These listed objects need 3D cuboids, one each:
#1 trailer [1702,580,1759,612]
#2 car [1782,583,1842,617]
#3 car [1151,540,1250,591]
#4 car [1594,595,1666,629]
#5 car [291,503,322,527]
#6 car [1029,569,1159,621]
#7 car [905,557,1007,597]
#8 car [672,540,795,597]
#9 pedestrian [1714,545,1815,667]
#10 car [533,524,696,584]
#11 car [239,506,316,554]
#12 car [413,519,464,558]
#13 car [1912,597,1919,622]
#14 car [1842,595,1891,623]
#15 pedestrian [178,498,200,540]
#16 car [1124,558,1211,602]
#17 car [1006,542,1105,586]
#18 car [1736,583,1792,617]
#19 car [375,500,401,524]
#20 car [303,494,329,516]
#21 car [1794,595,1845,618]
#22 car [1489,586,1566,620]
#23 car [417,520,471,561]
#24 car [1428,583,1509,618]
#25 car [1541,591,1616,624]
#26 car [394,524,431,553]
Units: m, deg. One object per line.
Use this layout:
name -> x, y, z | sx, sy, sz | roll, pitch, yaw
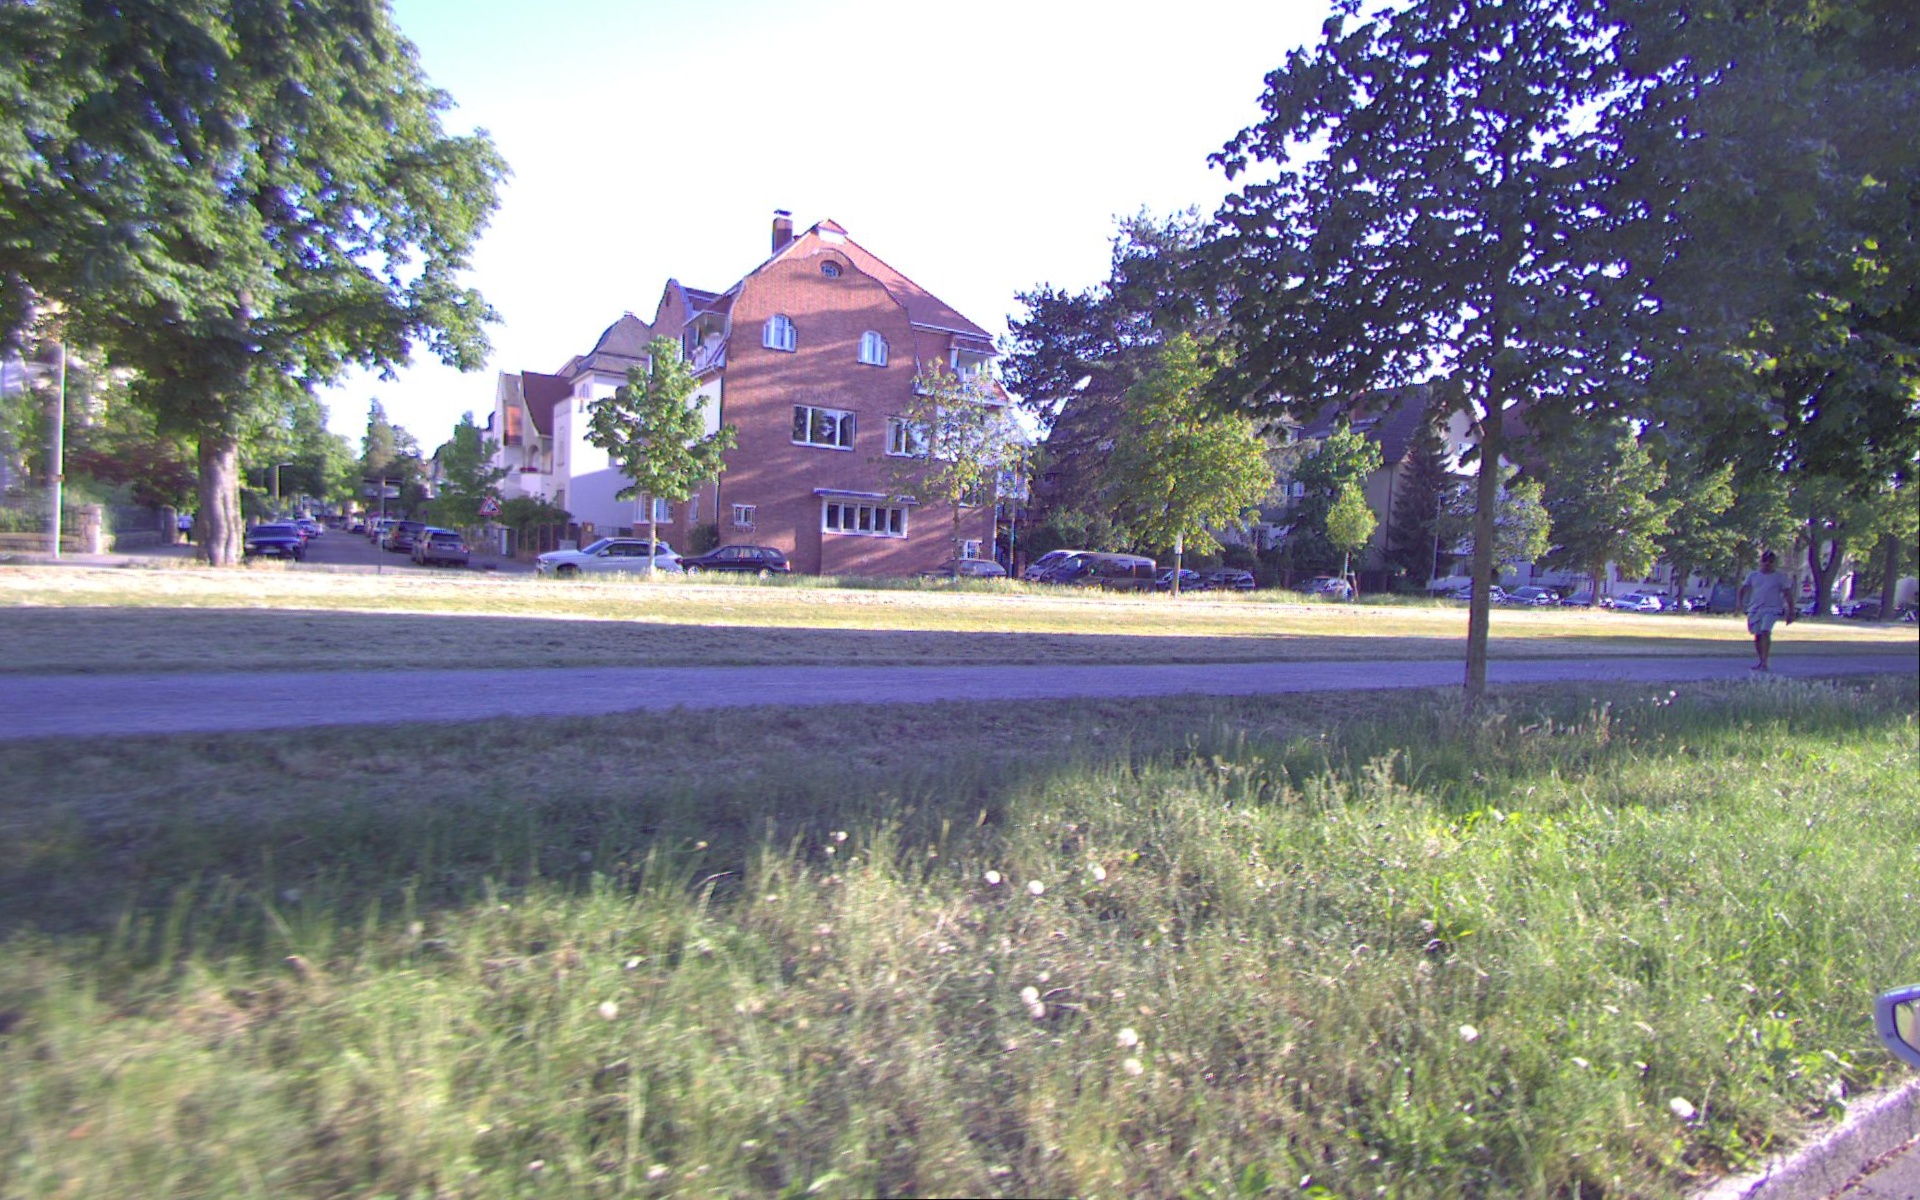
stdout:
trailer -> 64.010, -0.336, 83.426 | 4.668, 2.461, 1.984 | 2, 3, -30
car -> 78.165, -0.003, 92.138 | 5.751, 2.961, 2.426 | 2, 0, -31
car -> 10.799, -1.549, 45.083 | 3.953, 2.041, 1.983 | 1, 5, -30
car -> 42.649, 0.767, 63.932 | 4.204, 1.885, 1.984 | 2, 3, -29
car -> -54.880, -7.107, 84.398 | 1.977, 1.876, 3.965 | 1, 3, -31
car -> 5.591, -0.193, 41.799 | 5.183, 1.967, 1.984 | 1, 3, -30
car -> -0.175, -1.025, 45.370 | 4.254, 1.645, 1.748 | 1, 3, -30
car -> -8.805, -1.231, 39.104 | 4.317, 2.041, 1.748 | 1, 3, -30
pedestrian -> 12.173, 0.087, 15.210 | 0.979, 1.782, 0.722 | 1, 3, -24
car -> -10.926, -1.443, 31.808 | 4.597, 1.661, 1.810 | 1, 3, -31
car -> -26.115, -2.674, 38.570 | 1.976, 1.629, 4.832 | 1, 3, -29
car -> -23.564, -2.761, 45.317 | 1.814, 1.595, 3.877 | 1, 3, -30
car -> 91.336, 0.926, 93.398 | 5.394, 2.266, 2.522 | 1, 2, -30
car -> 75.792, 0.743, 83.945 | 4.263, 2.205, 1.677 | 1, 3, -30
pedestrian -> -34.689, -3.641, 45.200 | 0.688, 1.832, 0.859 | 0, 4, -44
car -> 10.574, -1.023, 51.144 | 3.951, 2.041, 1.984 | 1, 3, -29
car -> 4.571, -1.719, 47.935 | 4.356, 1.862, 1.808 | 2, 3, -30
car -> 69.383, 0.038, 86.669 | 5.126, 2.709, 1.984 | 2, 3, -30
car -> -58.496, -8.979, 102.669 | 1.980, 2.208, 3.960 | 1, 3, -35
car -> -63.301, -9.314, 98.738 | 1.980, 2.041, 3.960 | 1, 3, -35
car -> 67.213, 0.505, 78.535 | 4.263, 1.580, 1.677 | 2, 3, -30
car -> 32.723, 0.193, 57.880 | 3.950, 1.706, 1.985 | 2, 3, -28
car -> -21.270, -2.463, 41.307 | 1.842, 1.506, 3.968 | 1, 3, -29
car -> 28.013, 0.023, 55.365 | 3.950, 1.706, 1.985 | 2, 3, -28
car -> 37.732, 0.463, 61.247 | 4.204, 1.744, 1.984 | 2, 3, -29
car -> -32.530, -3.660, 59.634 | 1.814, 1.595, 3.877 | 1, 3, -30
